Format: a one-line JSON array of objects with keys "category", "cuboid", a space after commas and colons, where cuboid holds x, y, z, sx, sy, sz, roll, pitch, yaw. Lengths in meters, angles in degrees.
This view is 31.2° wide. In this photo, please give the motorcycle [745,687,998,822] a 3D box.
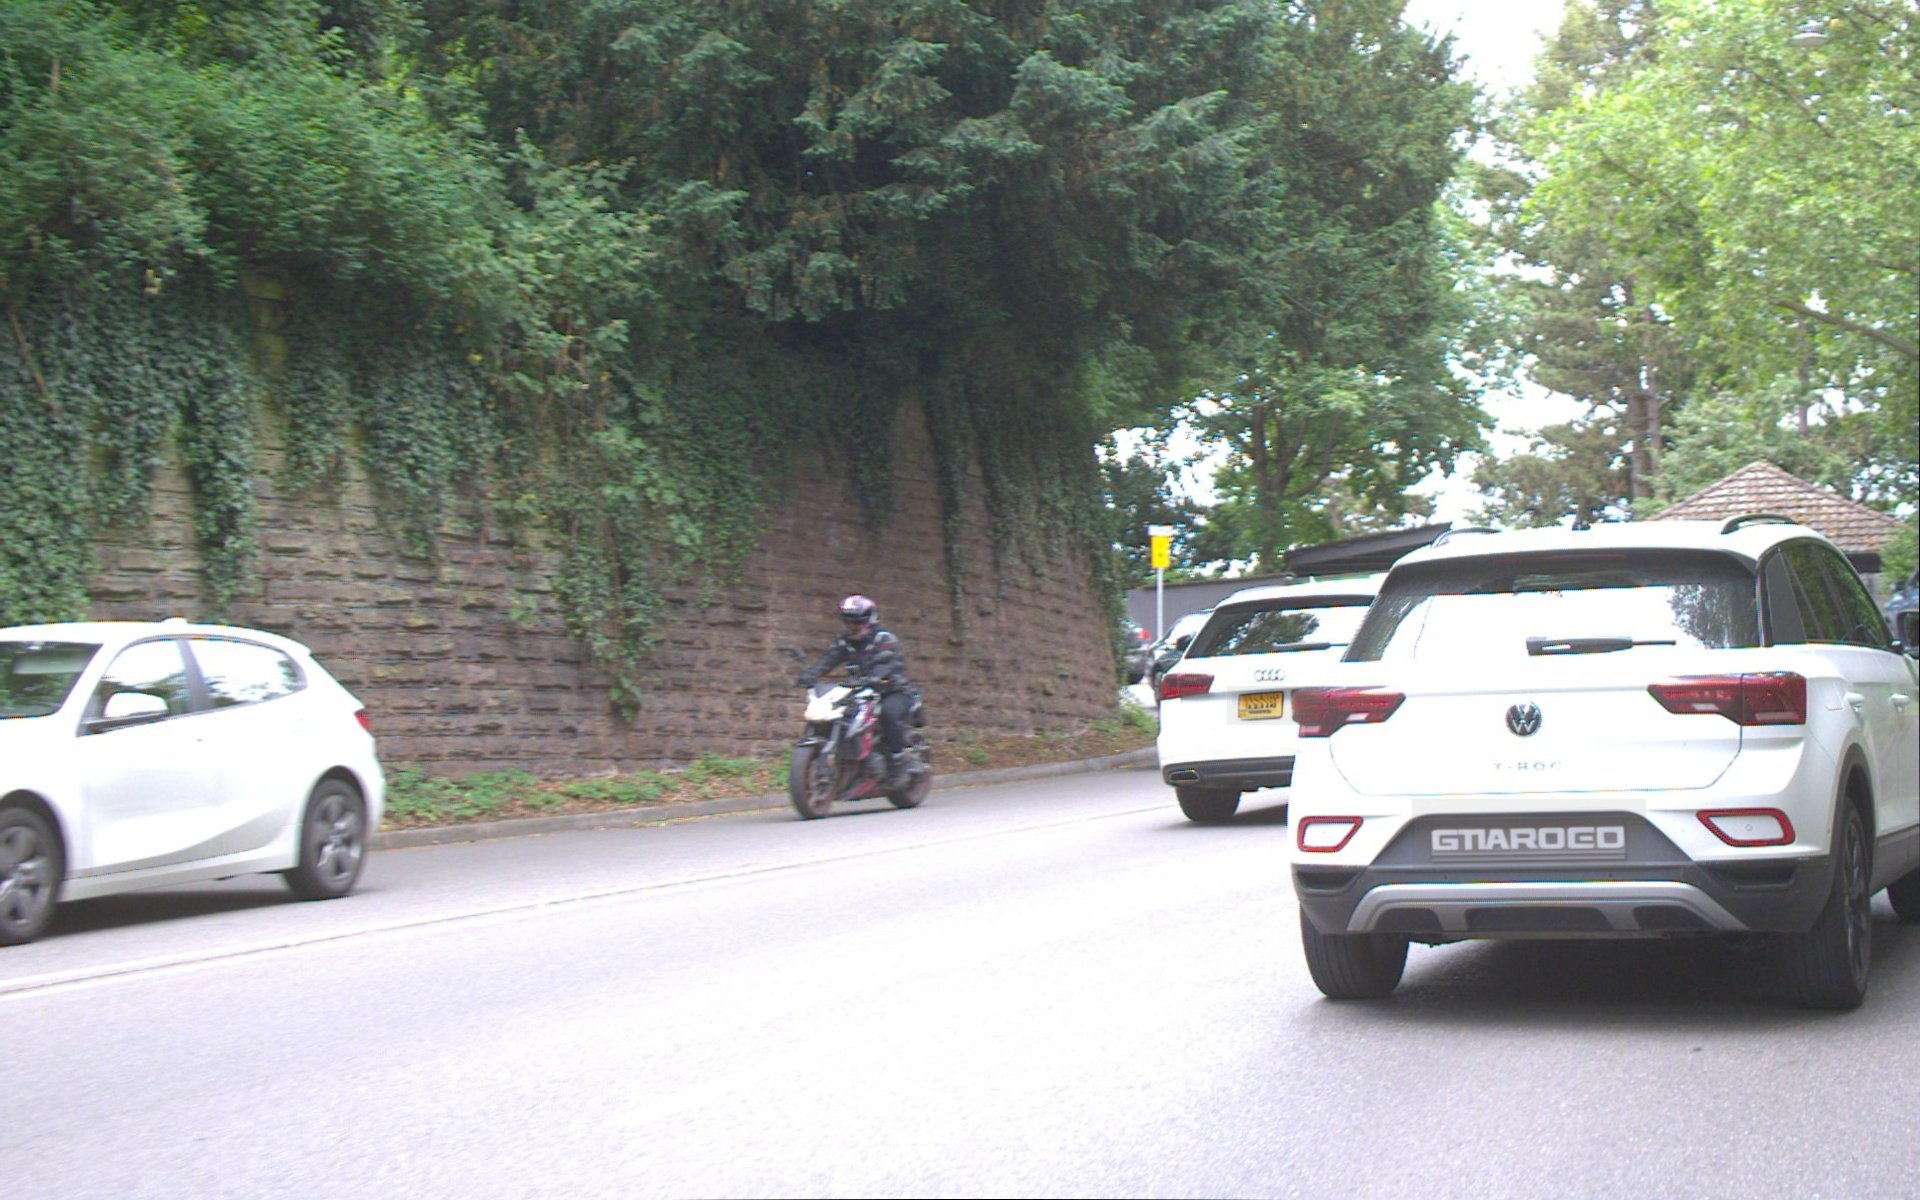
[{"category": "motorcycle", "cuboid": [-0.623, 1.126, 25.477, 0.809, 0.886, 2.426, -3, -2, 26]}]

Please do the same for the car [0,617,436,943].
[{"category": "car", "cuboid": [-4.417, 0.824, 16.578, 1.748, 1.411, 4.324, -2, -2, 22]}]

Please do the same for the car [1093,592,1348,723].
[{"category": "car", "cuboid": [3.621, 0.857, 48.783, 1.862, 1.592, 4.630, -4, -2, -18]}]

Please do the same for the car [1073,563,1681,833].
[{"category": "car", "cuboid": [2.815, 0.572, 22.154, 1.868, 1.529, 4.767, -3, -1, 34]}]

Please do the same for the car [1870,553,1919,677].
[{"category": "car", "cuboid": [12.365, 0.120, 41.404, 1.669, 1.496, 4.023, -5, -1, 1]}]

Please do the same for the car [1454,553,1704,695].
[{"category": "car", "cuboid": [8.586, 0.376, 48.066, 1.961, 1.758, 4.223, -4, -1, -10]}]

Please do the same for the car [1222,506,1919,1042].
[{"category": "car", "cuboid": [2.489, 0.481, 12.253, 1.756, 1.547, 4.332, -1, 1, 23]}]

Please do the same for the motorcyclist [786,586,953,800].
[{"category": "motorcyclist", "cuboid": [-0.661, 0.680, 25.438, 0.748, 1.524, 1.093, -3, -2, 26]}]
